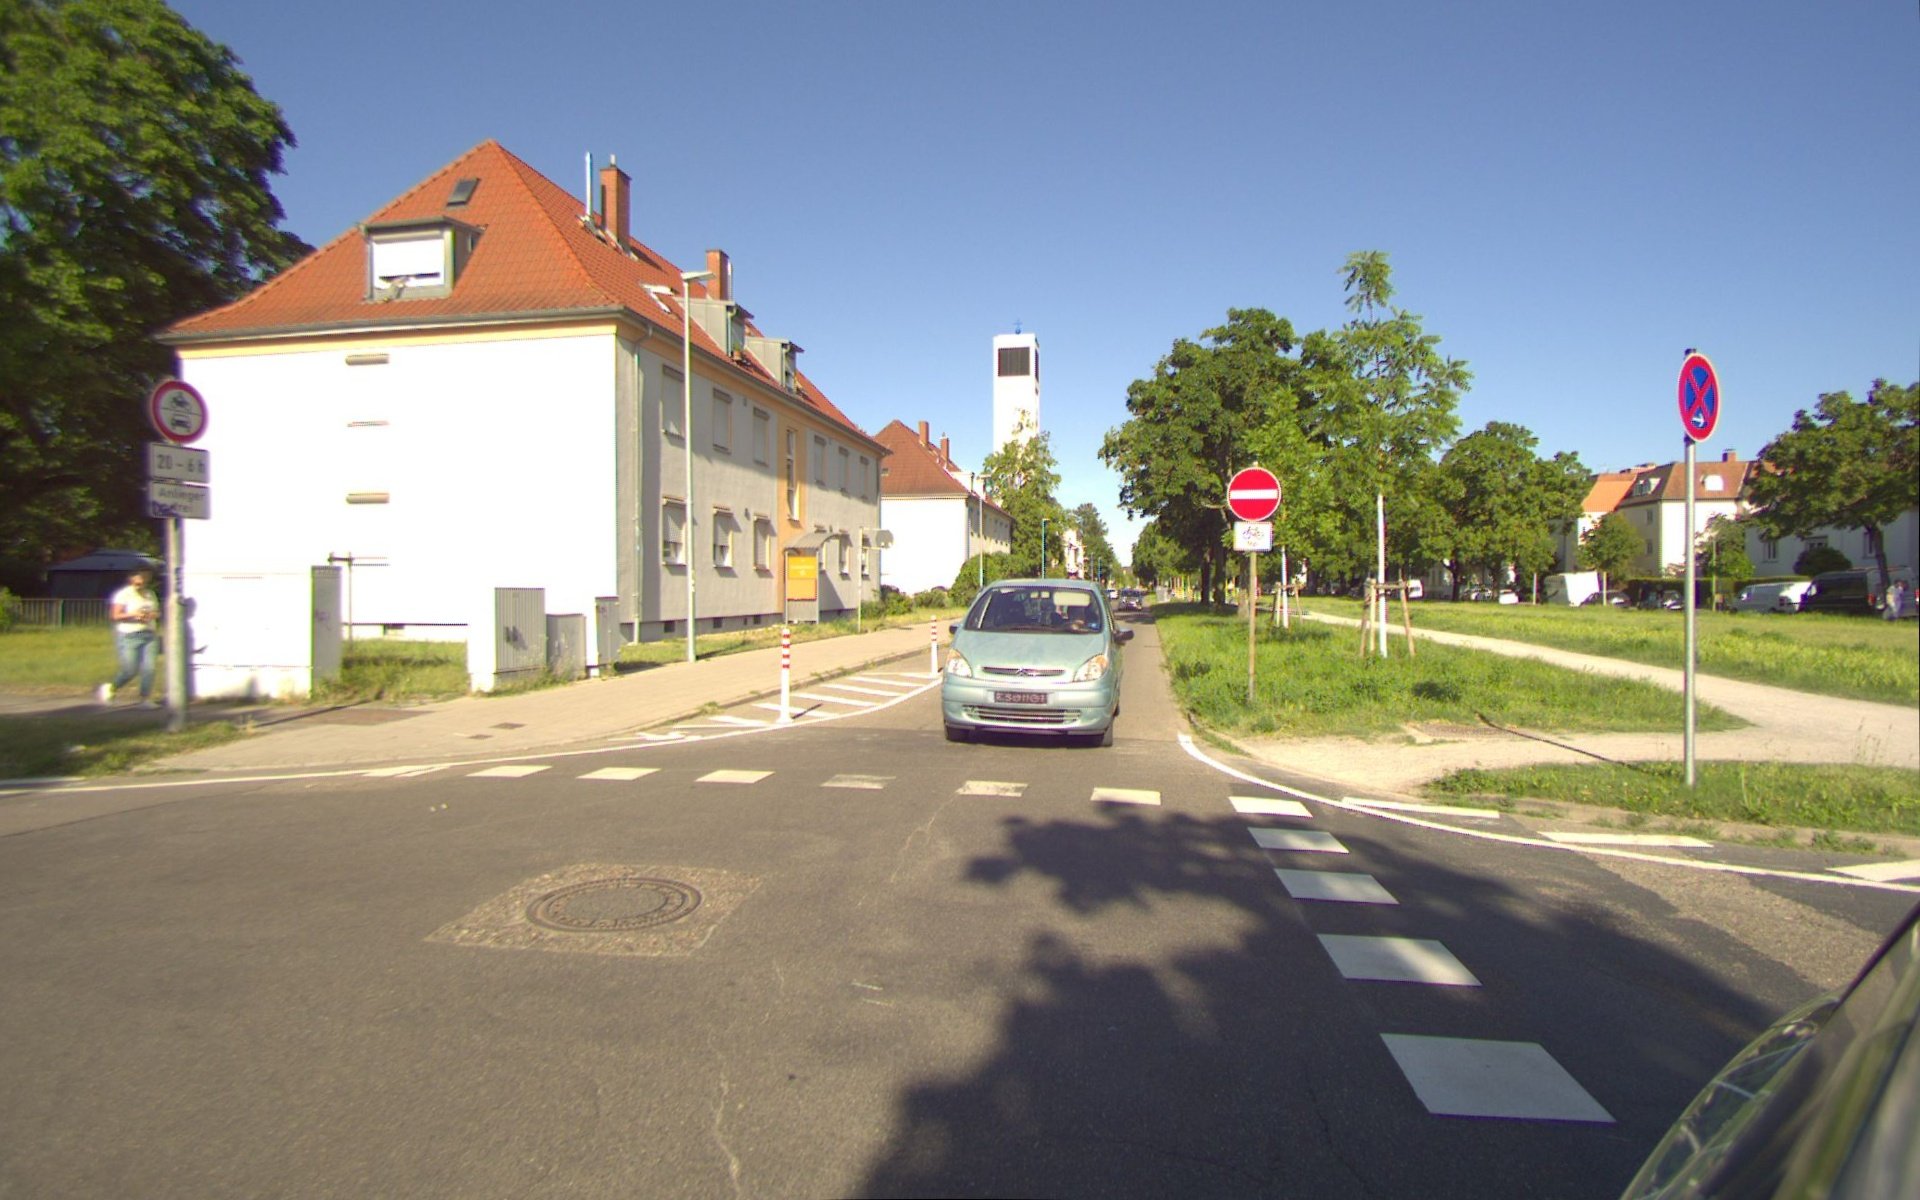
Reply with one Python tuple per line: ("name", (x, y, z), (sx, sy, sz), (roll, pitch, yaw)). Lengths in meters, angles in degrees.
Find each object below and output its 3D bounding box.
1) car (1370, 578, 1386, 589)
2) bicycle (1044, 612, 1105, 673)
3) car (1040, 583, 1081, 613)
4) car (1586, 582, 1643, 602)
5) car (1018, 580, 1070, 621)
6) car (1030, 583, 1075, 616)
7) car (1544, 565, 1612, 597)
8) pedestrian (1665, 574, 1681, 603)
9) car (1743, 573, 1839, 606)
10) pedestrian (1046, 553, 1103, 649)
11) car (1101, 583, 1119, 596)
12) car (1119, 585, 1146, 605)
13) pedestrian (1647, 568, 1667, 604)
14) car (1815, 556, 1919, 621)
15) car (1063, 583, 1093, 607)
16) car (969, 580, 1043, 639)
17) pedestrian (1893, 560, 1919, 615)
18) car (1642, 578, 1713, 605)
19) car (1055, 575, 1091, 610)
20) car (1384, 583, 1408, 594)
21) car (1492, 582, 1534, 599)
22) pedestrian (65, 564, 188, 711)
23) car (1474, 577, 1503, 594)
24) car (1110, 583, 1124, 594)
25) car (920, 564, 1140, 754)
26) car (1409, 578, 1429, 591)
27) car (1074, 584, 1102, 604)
("car", (71.190, -2.818, 172.409), (1.837, 1.868, 3.981), (0, 1, 12))
("bicycle", (2.109, 0.738, 18.712), (1.036, 0.949, 2.759), (0, 1, 6))
("car", (5.161, -0.139, 51.614), (1.694, 1.460, 4.127), (0, 1, 11))
("car", (45.418, -0.582, 70.322), (1.905, 1.361, 4.095), (0, 1, 12))
("car", (3.496, -0.019, 41.445), (1.694, 1.603, 4.127), (0, 1, 11))
("car", (4.356, -0.043, 47.090), (1.694, 1.460, 4.127), (0, 1, 11))
("car", (46.839, -1.439, 76.853), (2.512, 2.363, 5.899), (0, 1, 12))
("pedestrian", (37.750, -0.602, 53.571), (0.489, 1.524, 0.533), (0, 0, 11))
("car", (42.597, -0.536, 52.002), (2.053, 1.619, 4.273), (0, 1, 12))
("pedestrian", (2.114, 0.015, 18.726), (1.036, 1.731, 0.692), (0, 0, 7))
("car", (16.318, -1.162, 109.922), (1.694, 1.358, 3.797), (0, 1, 11))
("car", (11.884, -0.355, 69.608), (1.694, 1.358, 3.797), (0, 1, 11))
("pedestrian", (37.135, -0.737, 53.937), (0.634, 1.900, 0.627), (0, 1, 10))
("car", (40.968, -0.535, 45.298), (2.159, 2.617, 4.273), (-4, 0, 12))
("car", (7.728, -0.349, 65.943), (1.694, 1.517, 3.797), (0, 1, 11))
("car", (1.463, 0.227, 30.831), (1.694, 1.685, 4.051), (0, 1, 11))
("pedestrian", (33.380, -0.444, 35.494), (0.713, 1.900, 0.627), (0, 0, 10))
("car", (44.553, -0.538, 62.965), (2.053, 1.619, 4.273), (0, 1, 12))
("car", (6.800, -0.485, 60.723), (1.842, 2.039, 4.242), (0, 1, 11))
("car", (58.653, -1.565, 136.353), (2.049, 1.484, 4.711), (0, 1, 12))
("car", (50.111, -0.873, 91.745), (2.049, 1.484, 4.711), (0, 1, 12))
("pedestrian", (-9.618, 0.406, 11.697), (0.822, 1.631, 0.765), (0, 1, 16))
("car", (59.480, -1.672, 114.015), (1.837, 1.868, 3.981), (0, 1, 12))
("car", (20.497, -1.474, 132.073), (1.694, 1.358, 3.797), (0, 1, 11))
("car", (0.962, 0.460, 10.940), (1.859, 1.628, 4.233), (0, 1, 11))
("car", (65.733, -2.210, 144.962), (1.837, 1.868, 3.981), (0, 1, 12))
("car", (9.087, -0.417, 71.659), (1.694, 1.358, 3.797), (0, 1, 11))
